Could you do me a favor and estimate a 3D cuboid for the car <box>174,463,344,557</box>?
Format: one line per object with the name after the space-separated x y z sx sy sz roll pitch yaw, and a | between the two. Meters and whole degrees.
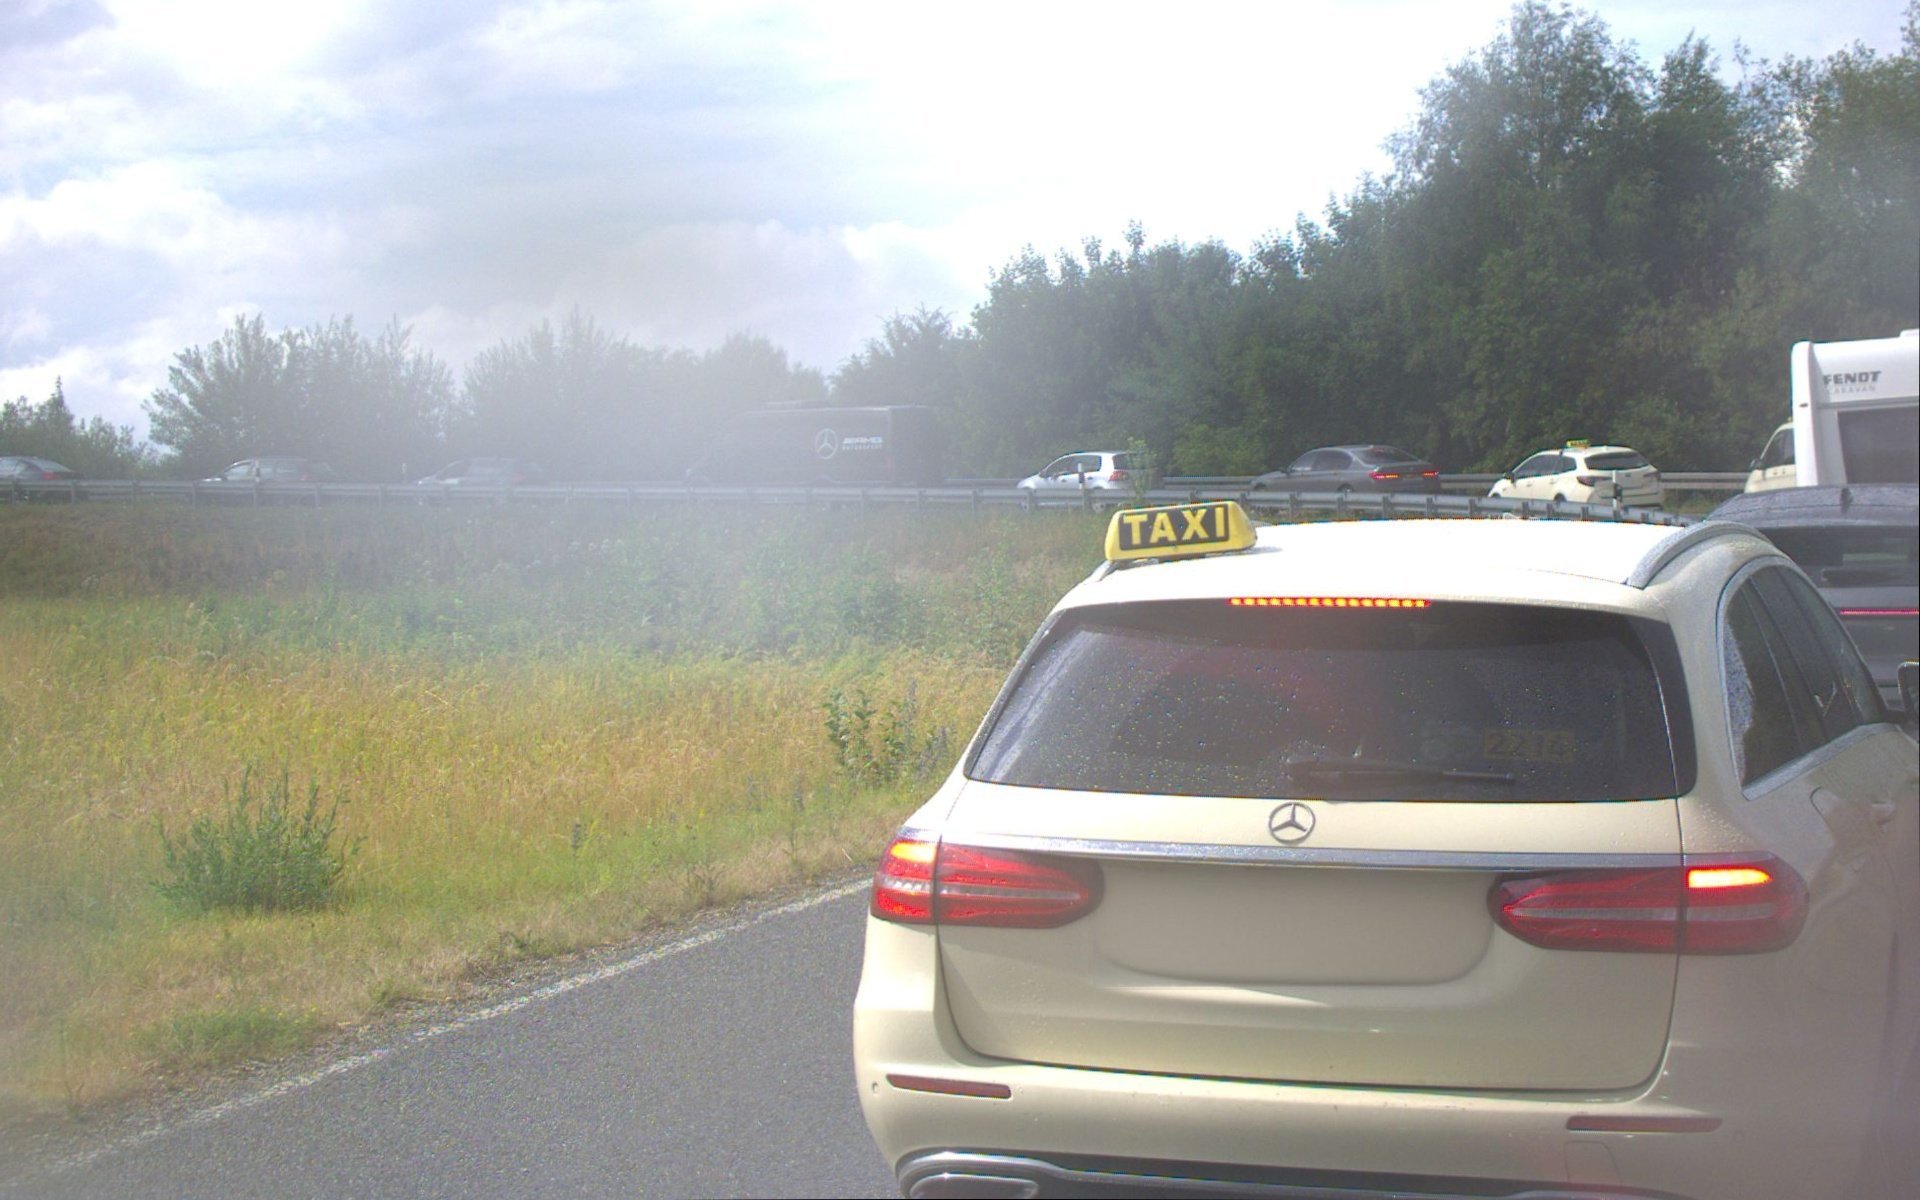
-19.383 -2.487 95.056 3.992 2.006 1.998 -6 4 27 | car

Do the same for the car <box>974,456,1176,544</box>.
2.668 -2.331 80.887 1.994 1.855 5.056 -2 0 -36 | car

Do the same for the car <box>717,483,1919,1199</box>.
1.216 0.539 7.698 1.918 1.502 4.592 0 1 18 | car

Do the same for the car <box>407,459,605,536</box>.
-12.157 -2.724 91.955 5.049 1.855 1.997 -2 0 31 | car

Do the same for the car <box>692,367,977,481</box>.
-3.211 -4.409 86.796 6.977 2.586 2.869 0 2 39 | car

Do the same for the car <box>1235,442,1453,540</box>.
8.082 -2.288 72.873 1.993 1.855 5.057 -2 0 -29 | car

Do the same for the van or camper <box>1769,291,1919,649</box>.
8.518 -1.176 28.846 2.433 2.719 5.995 0 4 22 | van or camper

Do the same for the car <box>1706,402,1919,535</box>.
13.525 -2.015 53.720 1.993 1.855 5.058 -2 0 -8 | car

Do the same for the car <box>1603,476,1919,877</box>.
4.143 0.227 15.161 1.720 1.519 3.996 -1 2 23 | car

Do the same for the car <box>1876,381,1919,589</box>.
10.780 -1.241 34.284 2.431 1.918 5.755 0 4 23 | car

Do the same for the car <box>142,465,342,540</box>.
-19.859 -2.683 95.154 5.045 1.855 1.998 -2 0 18 | car

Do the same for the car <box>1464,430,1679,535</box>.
11.148 -2.142 63.091 1.993 1.855 5.059 -1 2 -14 | car
